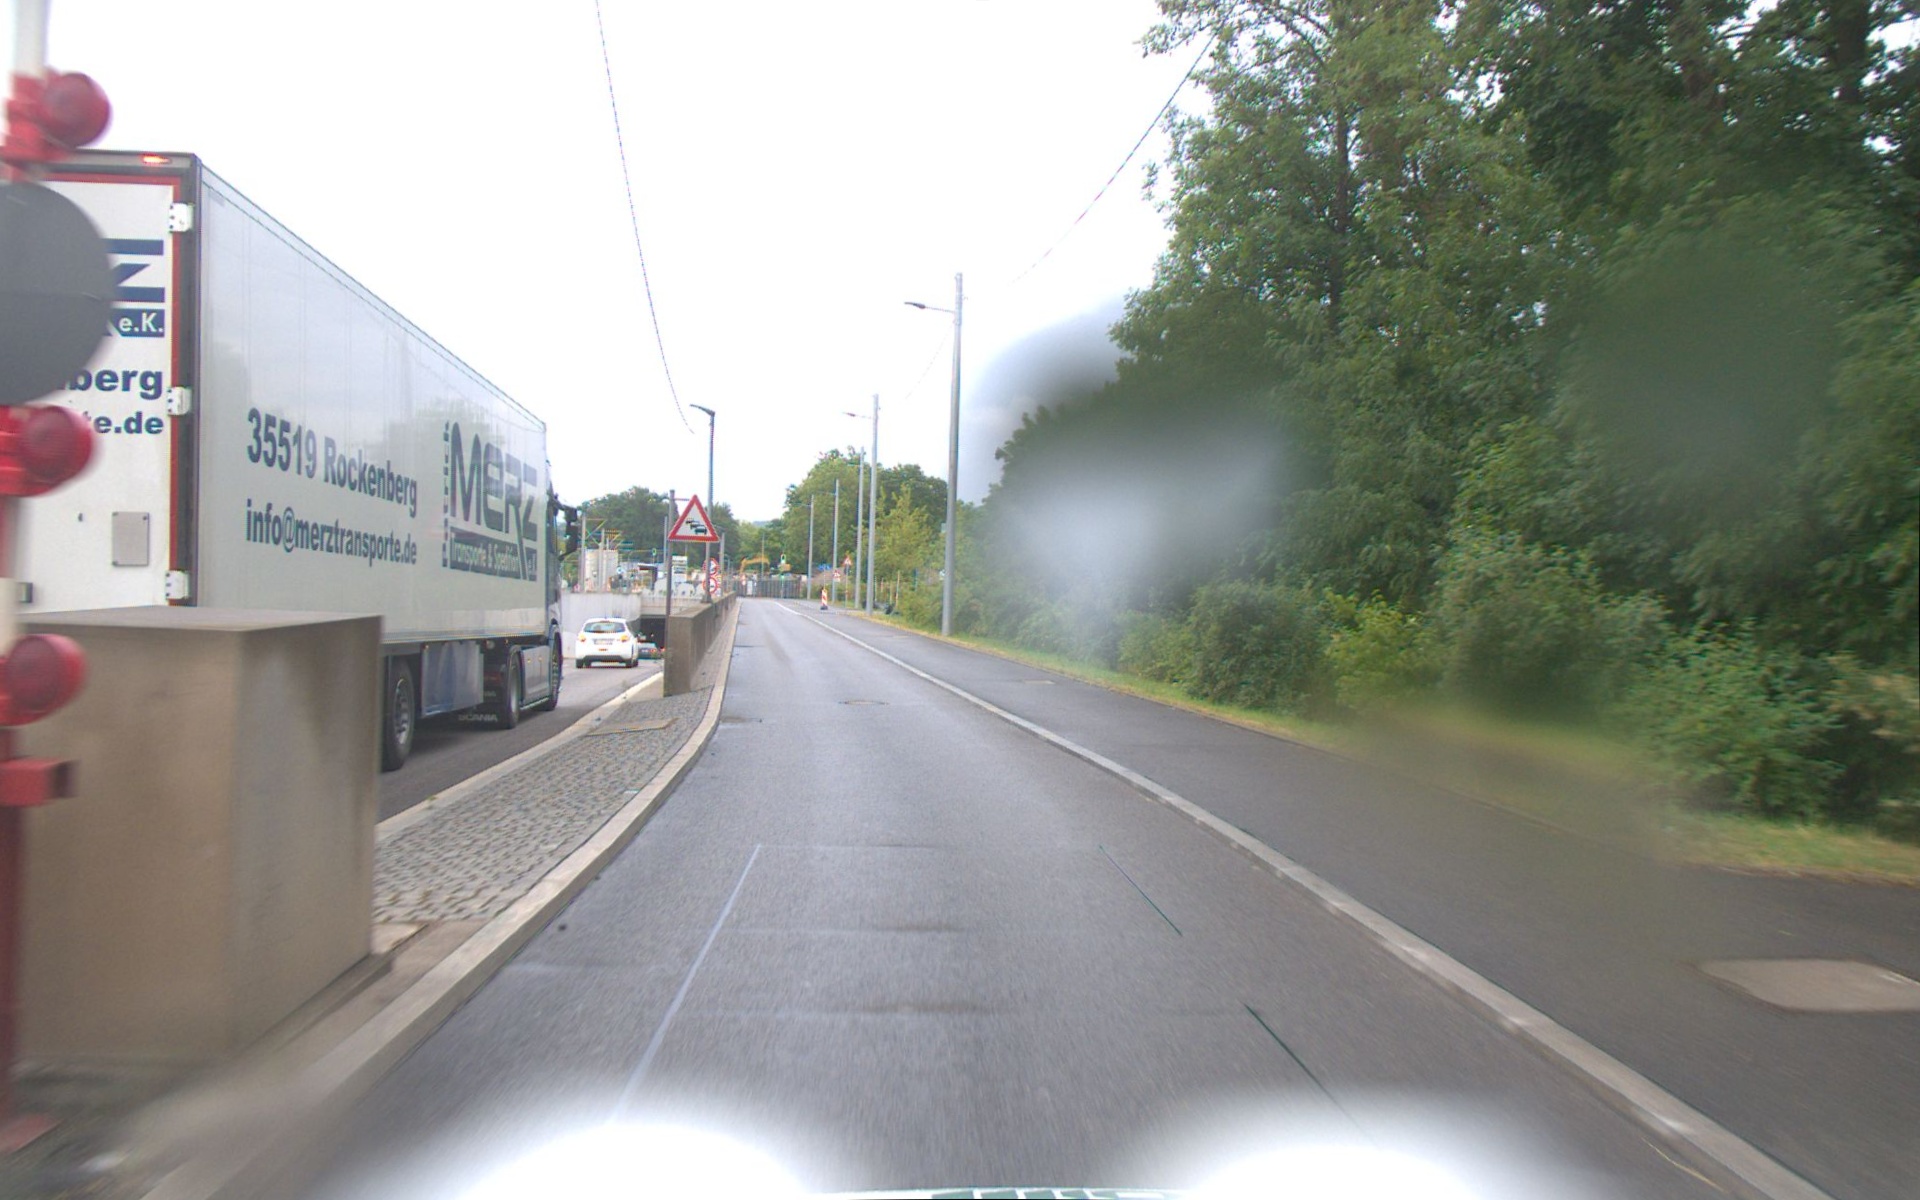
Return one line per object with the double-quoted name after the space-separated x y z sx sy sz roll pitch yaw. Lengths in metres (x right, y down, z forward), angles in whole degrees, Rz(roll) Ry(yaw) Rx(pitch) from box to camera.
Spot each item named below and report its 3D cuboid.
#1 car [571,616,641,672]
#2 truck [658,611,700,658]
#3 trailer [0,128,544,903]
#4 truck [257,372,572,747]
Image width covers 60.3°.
-10.757 1.320 50.488 1.776 1.448 3.994 1 2 -8 "car"
-25.773 3.105 152.010 3.452 4.110 8.060 1 0 -7 "truck"
-6.360 -0.530 15.757 2.709 4.327 13.168 0 0 -6 "trailer"
-6.999 -0.492 22.184 2.703 4.278 6.299 0 0 -6 "truck"
